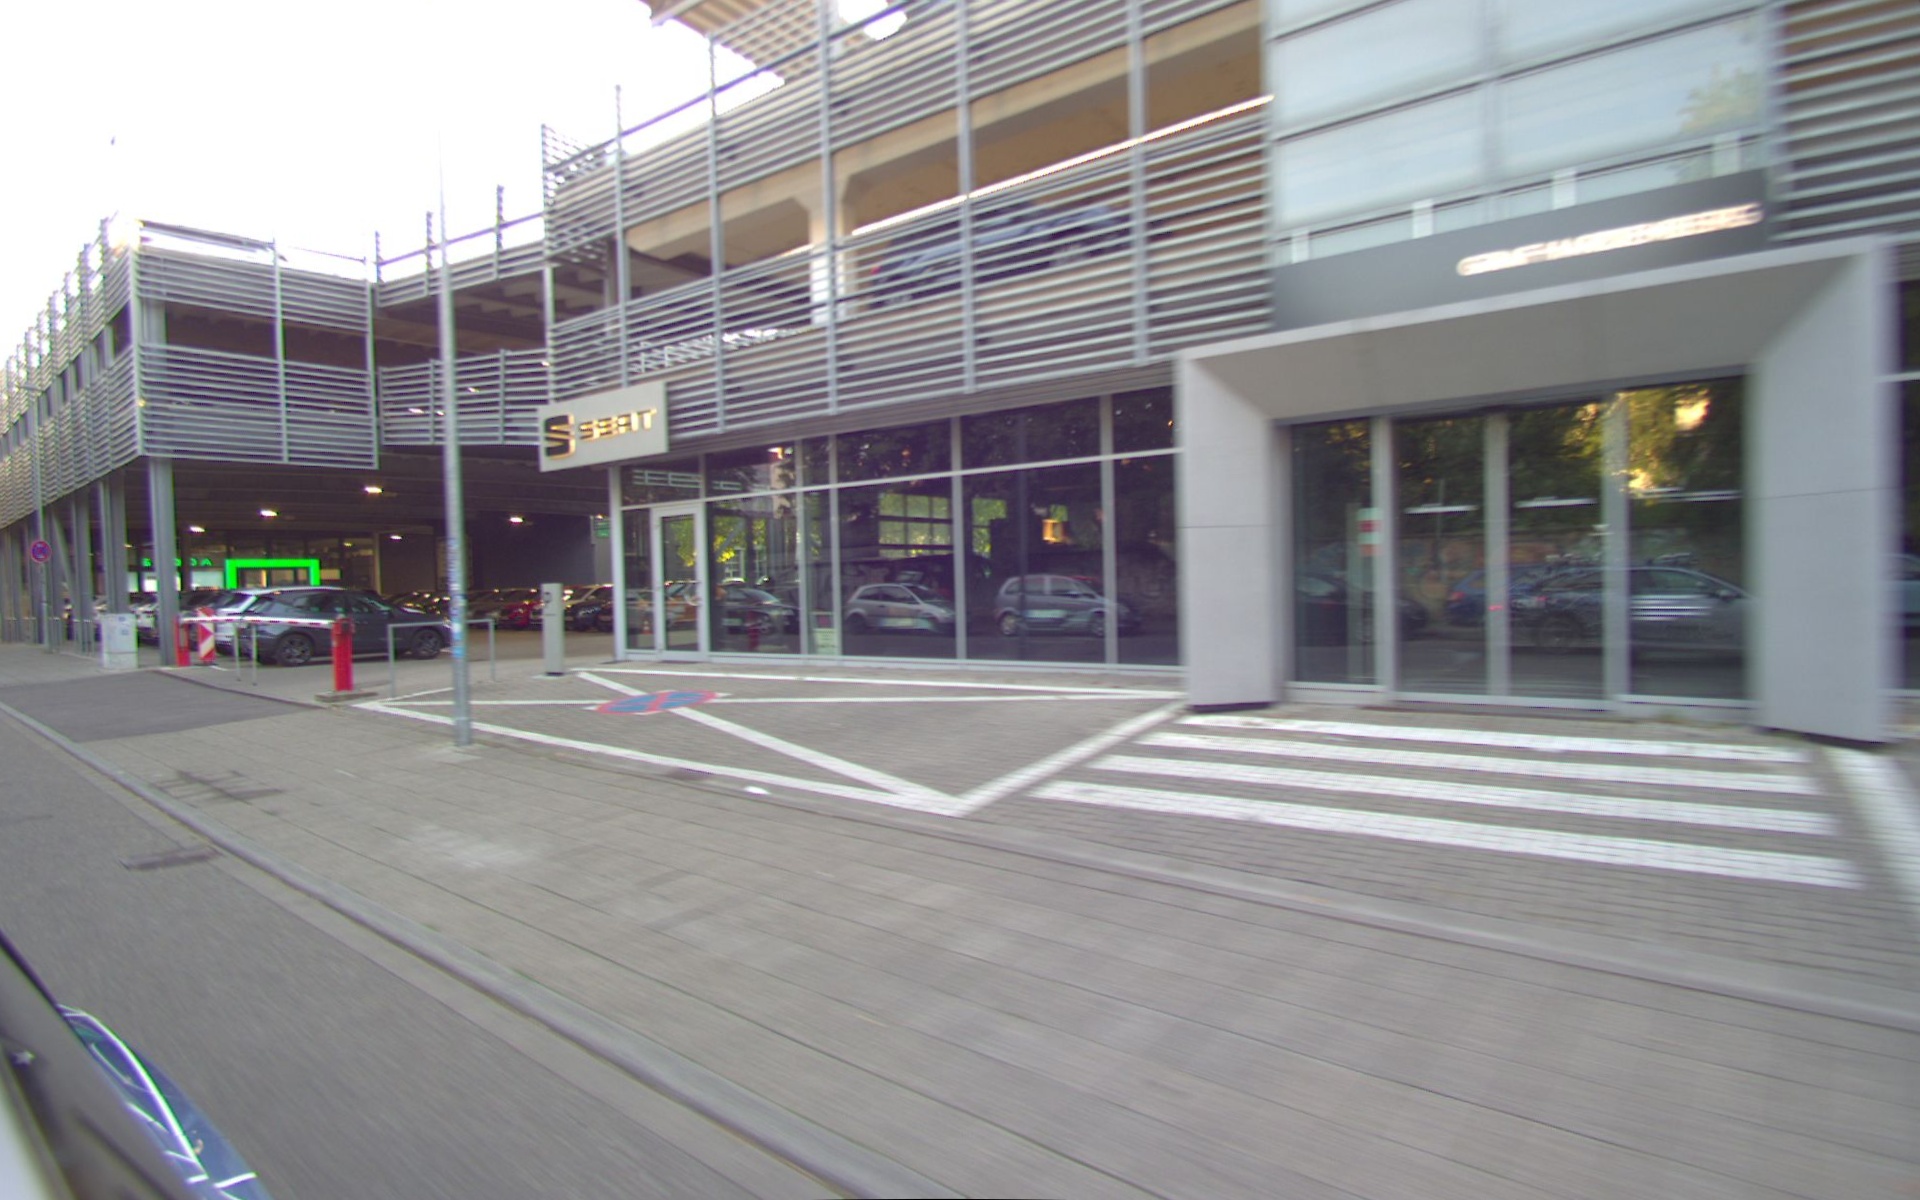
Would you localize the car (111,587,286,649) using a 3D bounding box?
[{"bbox_3d":[-23.600,0.530,31.468,1.860,1.696,4.059,-2,0,42],"label":"car"}]

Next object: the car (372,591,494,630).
[{"bbox_3d":[-22.807,0.431,43.920,1.860,1.499,4.291,-2,0,42],"label":"car"}]

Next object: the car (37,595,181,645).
[{"bbox_3d":[-32.678,0.741,38.928,1.860,1.696,3.992,-2,0,42],"label":"car"}]

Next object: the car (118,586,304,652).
[{"bbox_3d":[-21.867,0.523,29.661,1.860,1.696,4.059,-2,0,42],"label":"car"}]

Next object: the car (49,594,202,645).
[{"bbox_3d":[-30.794,0.697,37.424,1.860,1.696,4.105,-2,0,42],"label":"car"}]

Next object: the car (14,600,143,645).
[{"bbox_3d":[-38.144,0.955,43.860,1.860,1.696,4.000,-2,0,42],"label":"car"}]

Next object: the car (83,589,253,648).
[{"bbox_3d":[-25.592,0.557,32.804,1.860,1.696,4.059,-2,0,42],"label":"car"}]

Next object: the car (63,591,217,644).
[{"bbox_3d":[-29.116,0.601,36.008,1.860,1.696,3.983,-2,0,42],"label":"car"}]

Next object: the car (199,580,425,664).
[{"bbox_3d":[-14.943,0.459,23.483,1.860,1.696,4.036,-2,0,42],"label":"car"}]

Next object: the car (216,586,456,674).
[{"bbox_3d":[-13.165,0.546,21.523,1.858,1.597,3.948,1,2,39],"label":"car"}]

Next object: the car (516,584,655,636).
[{"bbox_3d":[-12.770,0.329,34.639,1.860,1.591,4.024,-2,0,42],"label":"car"}]

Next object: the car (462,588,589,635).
[{"bbox_3d":[-16.179,0.407,37.808,1.860,1.570,3.945,-2,0,42],"label":"car"}]

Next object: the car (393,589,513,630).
[{"bbox_3d":[-20.924,0.375,41.860,1.860,1.466,4.031,-2,0,42],"label":"car"}]

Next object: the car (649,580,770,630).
[{"bbox_3d":[-9.443,0.158,38.401,1.860,1.696,4.104,-2,0,42],"label":"car"}]

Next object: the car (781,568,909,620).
[{"bbox_3d":[-3.755,-0.213,33.540,1.860,1.565,3.938,-2,0,42],"label":"car"}]

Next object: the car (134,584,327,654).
[{"bbox_3d":[-20.145,0.489,28.053,1.860,1.696,4.021,-2,0,42],"label":"car"}]

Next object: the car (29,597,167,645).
[{"bbox_3d":[-34.619,0.817,40.715,1.860,1.696,3.992,-2,0,42],"label":"car"}]

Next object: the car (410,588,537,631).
[{"bbox_3d":[-19.423,0.347,40.547,1.860,1.531,4.161,-2,0,42],"label":"car"}]

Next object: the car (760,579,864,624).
[{"bbox_3d":[-5.242,0.027,36.166,1.596,1.436,3.414,-1,1,41],"label":"car"}]

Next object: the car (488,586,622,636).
[{"bbox_3d":[-14.453,0.382,36.265,1.860,1.608,3.992,-2,0,42],"label":"car"}]

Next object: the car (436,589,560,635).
[{"bbox_3d":[-17.863,0.440,39.271,1.860,1.570,3.945,-2,0,42],"label":"car"}]

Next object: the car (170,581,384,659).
[{"bbox_3d":[-16.806,0.442,25.043,1.860,1.696,4.044,-2,0,42],"label":"car"}]

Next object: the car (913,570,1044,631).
[{"bbox_3d":[0.597,-0.020,28.889,1.784,1.484,3.793,-5,-1,37],"label":"car"}]

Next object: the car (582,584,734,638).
[{"bbox_3d":[-9.389,0.316,31.708,1.830,1.506,4.185,-2,0,42],"label":"car"}]

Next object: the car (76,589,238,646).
[{"bbox_3d":[-27.196,0.569,34.360,1.860,1.696,4.040,-2,0,42],"label":"car"}]

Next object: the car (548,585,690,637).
[{"bbox_3d":[-11.118,0.343,33.173,1.860,1.506,4.008,-2,0,42],"label":"car"}]
